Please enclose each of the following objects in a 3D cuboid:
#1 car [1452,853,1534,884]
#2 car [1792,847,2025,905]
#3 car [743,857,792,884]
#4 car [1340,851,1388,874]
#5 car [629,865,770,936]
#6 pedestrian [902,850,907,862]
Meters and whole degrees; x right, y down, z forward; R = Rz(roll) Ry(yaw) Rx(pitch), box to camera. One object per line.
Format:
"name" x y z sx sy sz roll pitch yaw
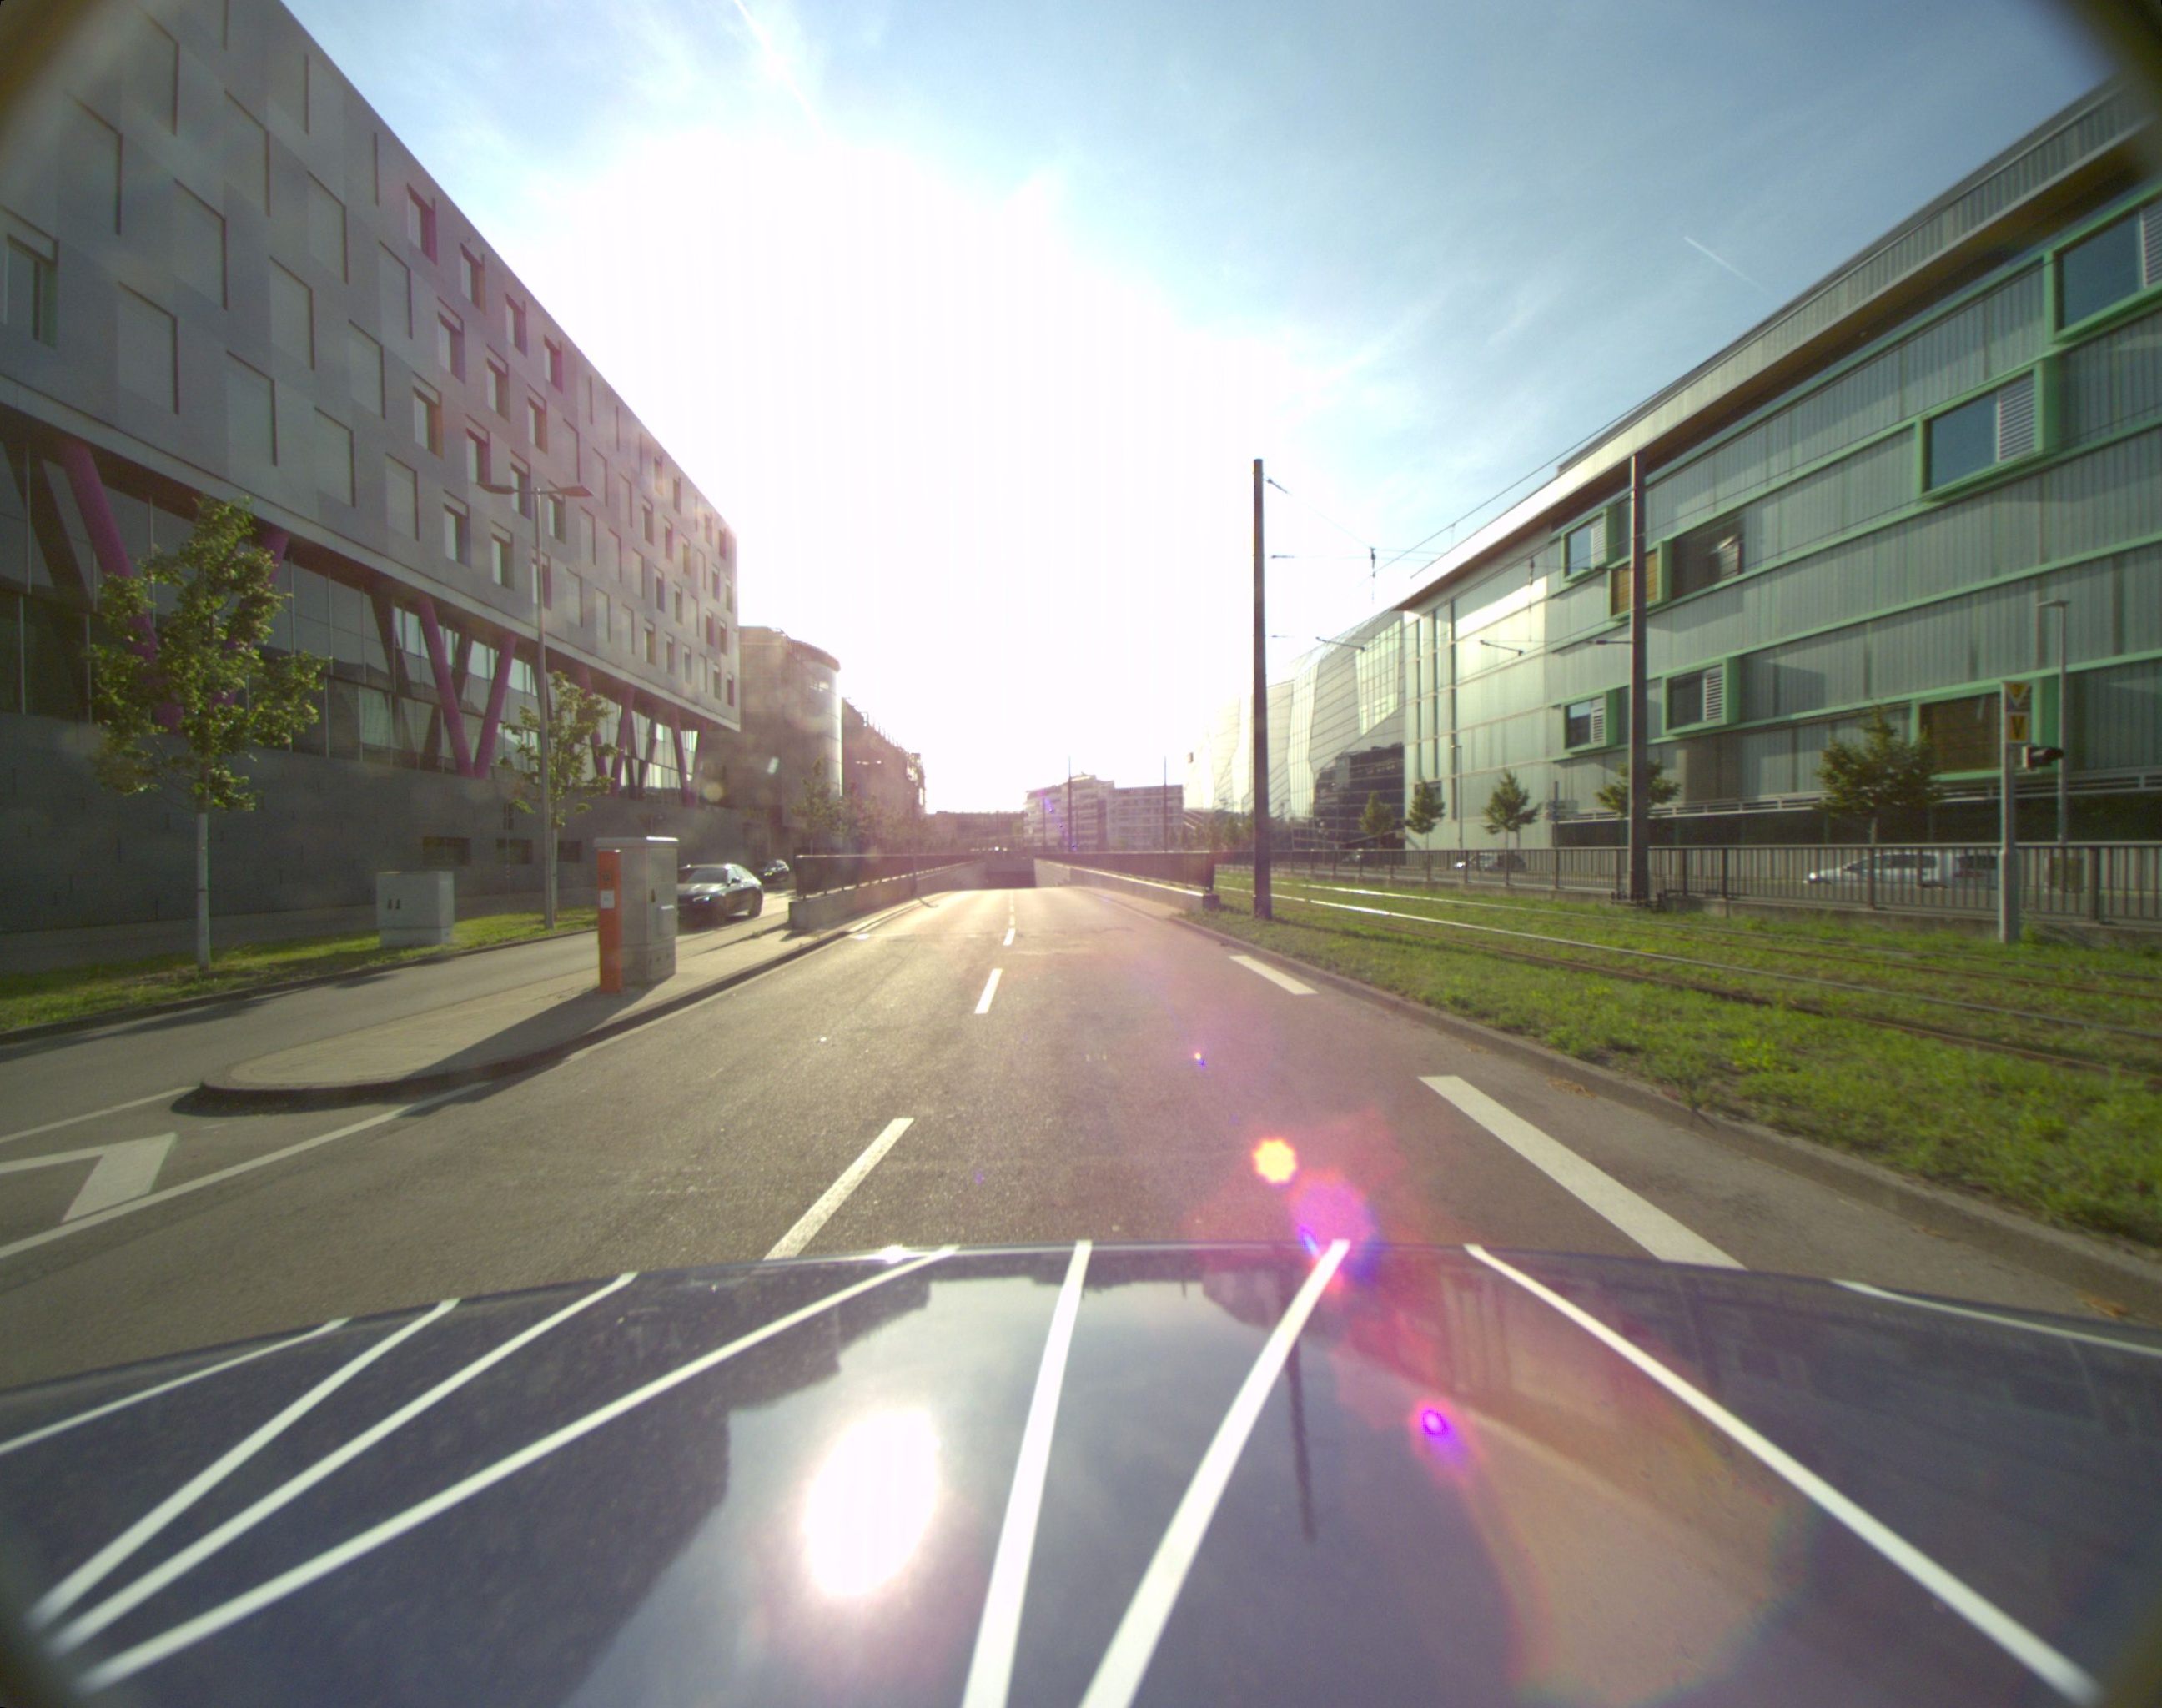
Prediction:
"car" 20.882 0.701 38.726 1.775 1.478 4.026 -1 0 -4
"car" 22.445 0.531 20.899 1.665 1.414 4.183 -1 0 -5
"car" -19.821 0.994 48.239 1.896 1.418 4.467 -2 2 -10
"car" 20.709 0.622 55.728 1.775 1.597 4.026 -1 0 -5
"car" -9.441 1.063 19.235 1.845 1.441 4.552 -2 0 -9
"pedestrian" -27.788 0.302 119.507 0.726 1.776 0.771 0 1 -6
